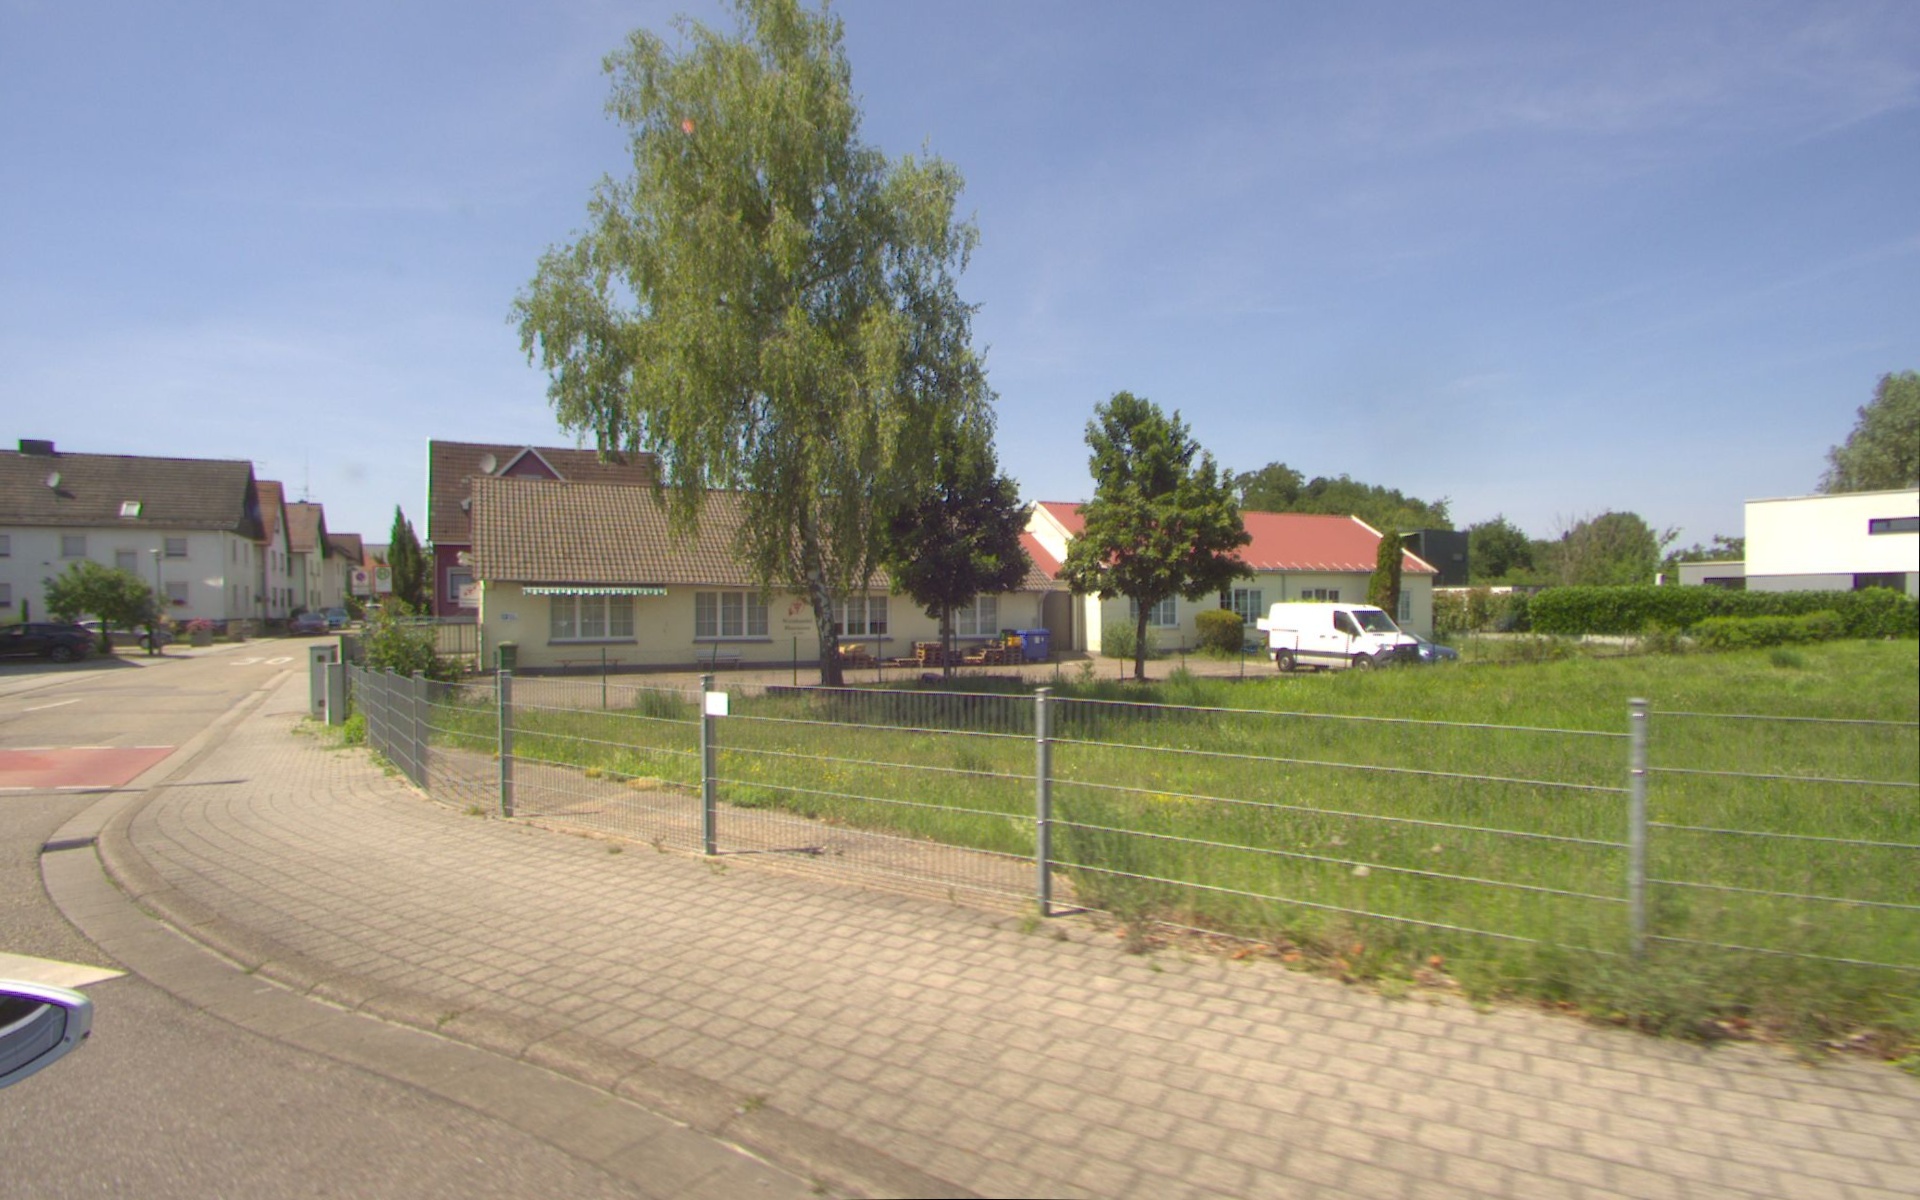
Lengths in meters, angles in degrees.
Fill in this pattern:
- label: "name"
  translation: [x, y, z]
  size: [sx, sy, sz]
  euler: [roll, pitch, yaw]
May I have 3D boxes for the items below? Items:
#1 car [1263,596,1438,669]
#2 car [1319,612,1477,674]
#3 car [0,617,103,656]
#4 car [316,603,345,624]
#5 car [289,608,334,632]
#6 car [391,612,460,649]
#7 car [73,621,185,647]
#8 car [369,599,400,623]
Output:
- label: "car"
  translation: [12.886, 1.092, 33.408]
  size: [2.184, 2.229, 5.158]
  euler: [0, -2, -31]
- label: "car"
  translation: [15.462, 1.506, 35.667]
  size: [2.039, 2.039, 4.910]
  euler: [0, -2, -29]
- label: "car"
  translation: [-34.988, 1.347, 37.616]
  size: [3.942, 1.401, 1.652]
  euler: [0, -1, -29]
- label: "car"
  translation: [-49.930, 1.085, 79.504]
  size: [1.904, 1.625, 3.977]
  euler: [0, -1, -32]
- label: "car"
  translation: [-43.143, 1.326, 66.653]
  size: [1.969, 1.573, 3.985]
  euler: [0, -1, -25]
- label: "car"
  translation: [-24.234, 1.367, 45.459]
  size: [2.711, 1.618, 1.167]
  euler: [0, -1, -27]
- label: "car"
  translation: [-40.719, 1.646, 49.182]
  size: [3.941, 1.206, 1.831]
  euler: [0, -1, -29]
- label: "car"
  translation: [-44.783, 0.874, 78.019]
  size: [1.829, 1.810, 3.985]
  euler: [0, -2, -26]
